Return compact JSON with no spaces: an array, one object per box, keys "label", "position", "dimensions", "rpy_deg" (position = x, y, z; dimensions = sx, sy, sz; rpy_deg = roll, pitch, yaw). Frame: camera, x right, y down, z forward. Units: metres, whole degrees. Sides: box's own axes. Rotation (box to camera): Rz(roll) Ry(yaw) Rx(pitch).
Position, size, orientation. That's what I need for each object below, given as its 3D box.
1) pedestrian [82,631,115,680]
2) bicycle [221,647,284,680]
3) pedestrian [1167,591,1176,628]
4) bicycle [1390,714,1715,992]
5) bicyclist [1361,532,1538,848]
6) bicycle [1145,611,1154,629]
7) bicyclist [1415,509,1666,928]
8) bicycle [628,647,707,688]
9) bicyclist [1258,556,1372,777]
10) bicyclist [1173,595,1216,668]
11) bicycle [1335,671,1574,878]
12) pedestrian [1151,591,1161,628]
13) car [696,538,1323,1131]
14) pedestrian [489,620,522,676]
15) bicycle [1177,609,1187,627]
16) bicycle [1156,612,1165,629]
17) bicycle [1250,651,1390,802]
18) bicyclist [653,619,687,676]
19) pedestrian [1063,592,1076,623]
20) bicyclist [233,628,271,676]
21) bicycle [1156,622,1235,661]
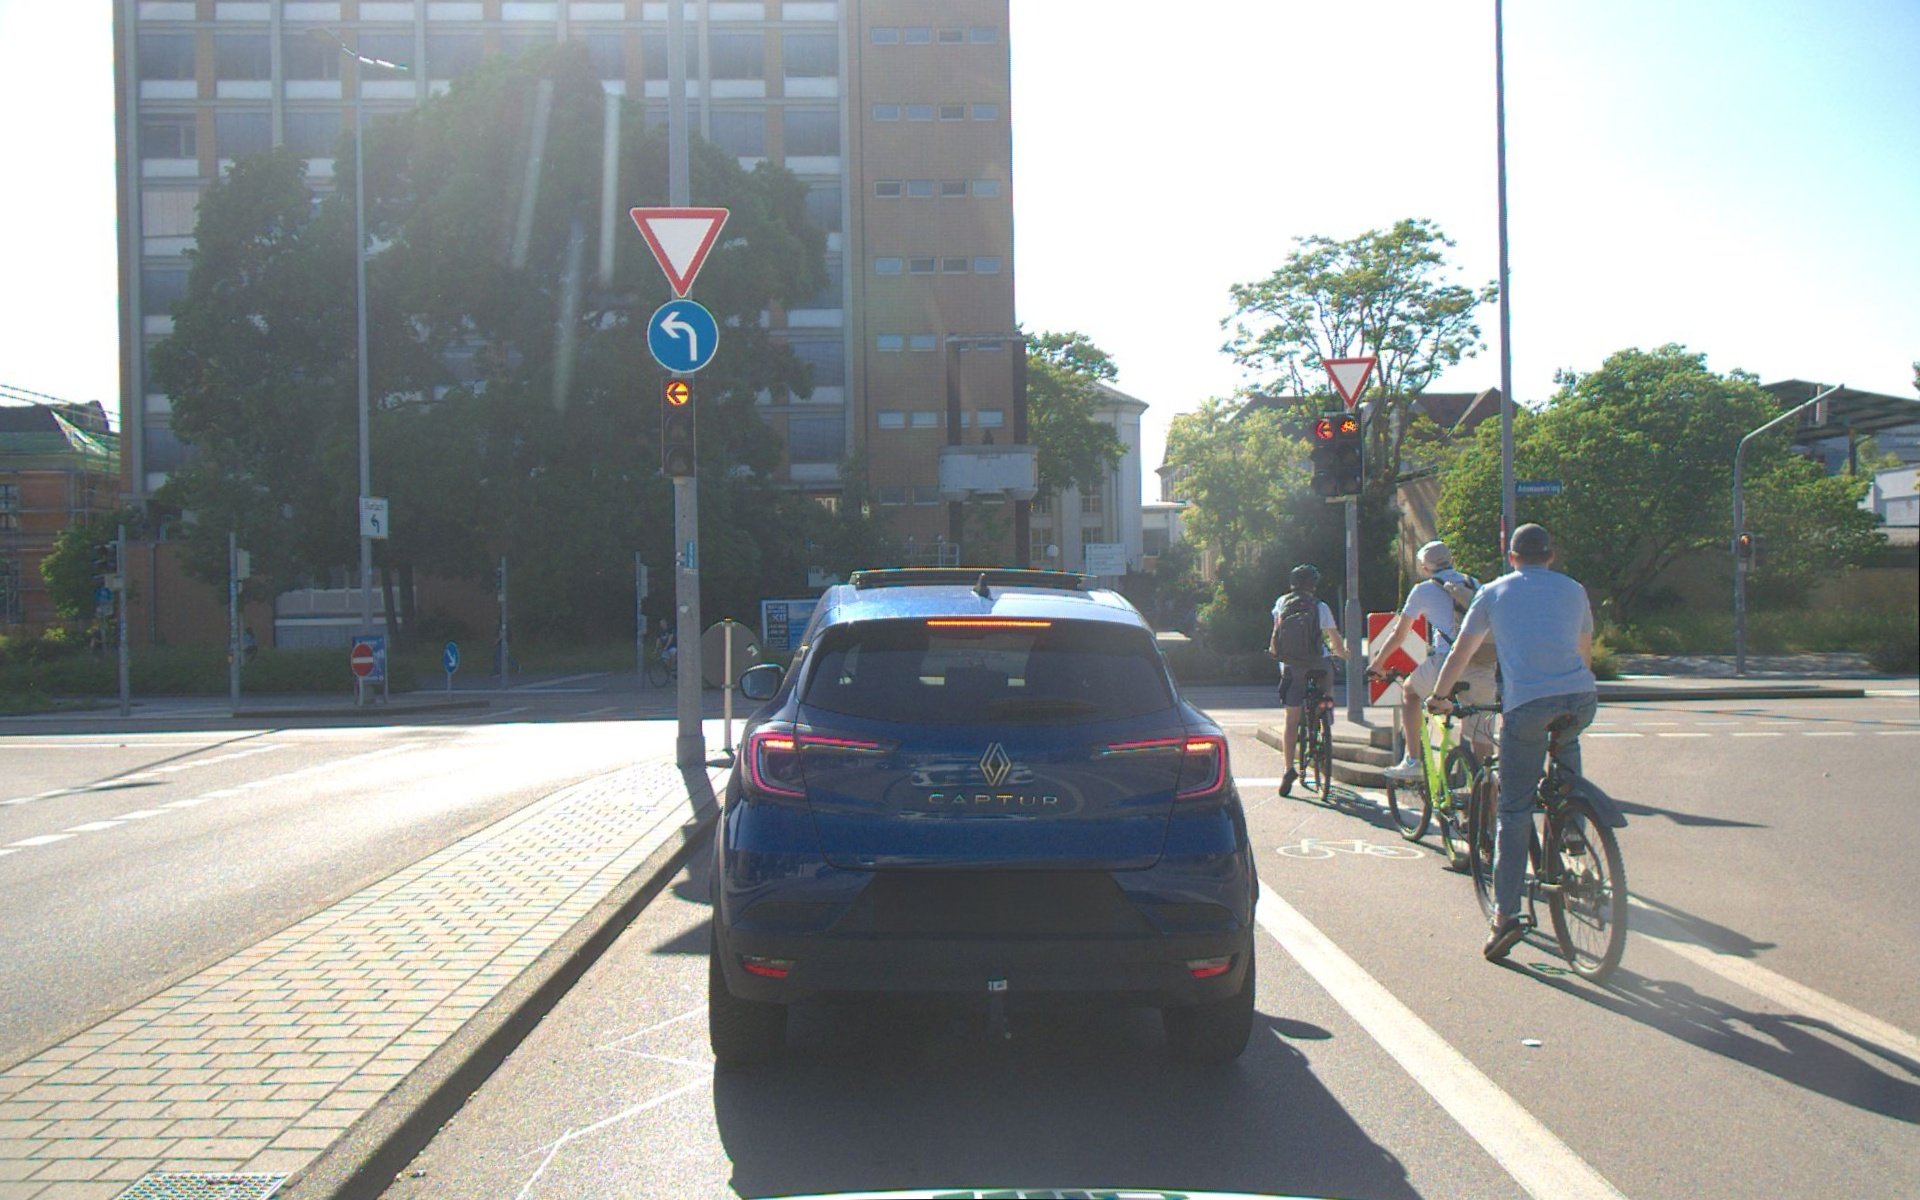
[{"label":"pedestrian","position":[-28.707,1.839,55.108],"dimensions":[0.842,1.598,0.559],"rpy_deg":[-1,0,22]},{"label":"bicycle","position":[-22.022,1.981,51.470],"dimensions":[2.035,0.981,0.598],"rpy_deg":[-1,0,26]},{"label":"pedestrian","position":[11.836,0.542,92.561],"dimensions":[0.465,2.049,0.468],"rpy_deg":[-1,0,5]},{"label":"bicycle","position":[2.508,1.029,7.272],"dimensions":[0.725,0.911,1.978],"rpy_deg":[1,0,0]},{"label":"bicyclist","position":[2.888,0.510,9.840],"dimensions":[0.633,1.769,1.065],"rpy_deg":[1,0,-6]},{"label":"bicycle","position":[10.804,1.148,94.221],"dimensions":[0.397,0.990,1.684],"rpy_deg":[1,0,3]},{"label":"bicyclist","position":[2.513,0.487,7.270],"dimensions":[0.736,1.698,1.016],"rpy_deg":[1,0,0]},{"label":"bicycle","position":[-7.713,1.767,43.618],"dimensions":[1.982,0.981,0.593],"rpy_deg":[-1,0,-28]},{"label":"bicyclist","position":[2.765,0.502,12.974],"dimensions":[0.711,1.657,0.969],"rpy_deg":[1,0,3]},{"label":"bicyclist","position":[6.257,0.837,44.099],"dimensions":[1.078,1.900,0.653],"rpy_deg":[-1,0,10]},{"label":"bicycle","position":[2.876,0.978,9.843],"dimensions":[0.646,1.020,1.967],"rpy_deg":[1,0,-6]},{"label":"pedestrian","position":[10.805,0.519,91.194],"dimensions":[0.465,2.049,0.523],"rpy_deg":[-1,0,5]},{"label":"car","position":[0.066,0.668,6.681],"dimensions":[1.767,1.660,3.998],"rpy_deg":[1,0,-3]},{"label":"pedestrian","position":[-13.564,1.433,49.389],"dimensions":[0.721,1.631,0.599],"rpy_deg":[-1,0,12]},{"label":"bicycle","position":[12.689,1.036,94.587],"dimensions":[0.397,0.990,1.684],"rpy_deg":[1,0,3]},{"label":"bicycle","position":[11.413,1.159,94.187],"dimensions":[0.397,0.990,1.684],"rpy_deg":[1,0,3]},{"label":"bicycle","position":[2.766,0.937,12.922],"dimensions":[0.723,1.012,2.174],"rpy_deg":[1,0,3]},{"label":"bicyclist","position":[-7.665,1.243,43.645],"dimensions":[0.728,1.466,0.593],"rpy_deg":[-1,0,-27]},{"label":"pedestrian","position":[6.810,0.453,102.626],"dimensions":[0.615,1.888,0.559],"rpy_deg":[-1,0,-25]},{"label":"bicyclist","position":[-22.030,1.618,51.475],"dimensions":[0.918,1.454,0.598],"rpy_deg":[-1,0,25]},{"label":"bicycle","position":[6.277,1.113,44.021],"dimensions":[2.037,0.946,0.697],"rpy_deg":[-2,1,8]}]
